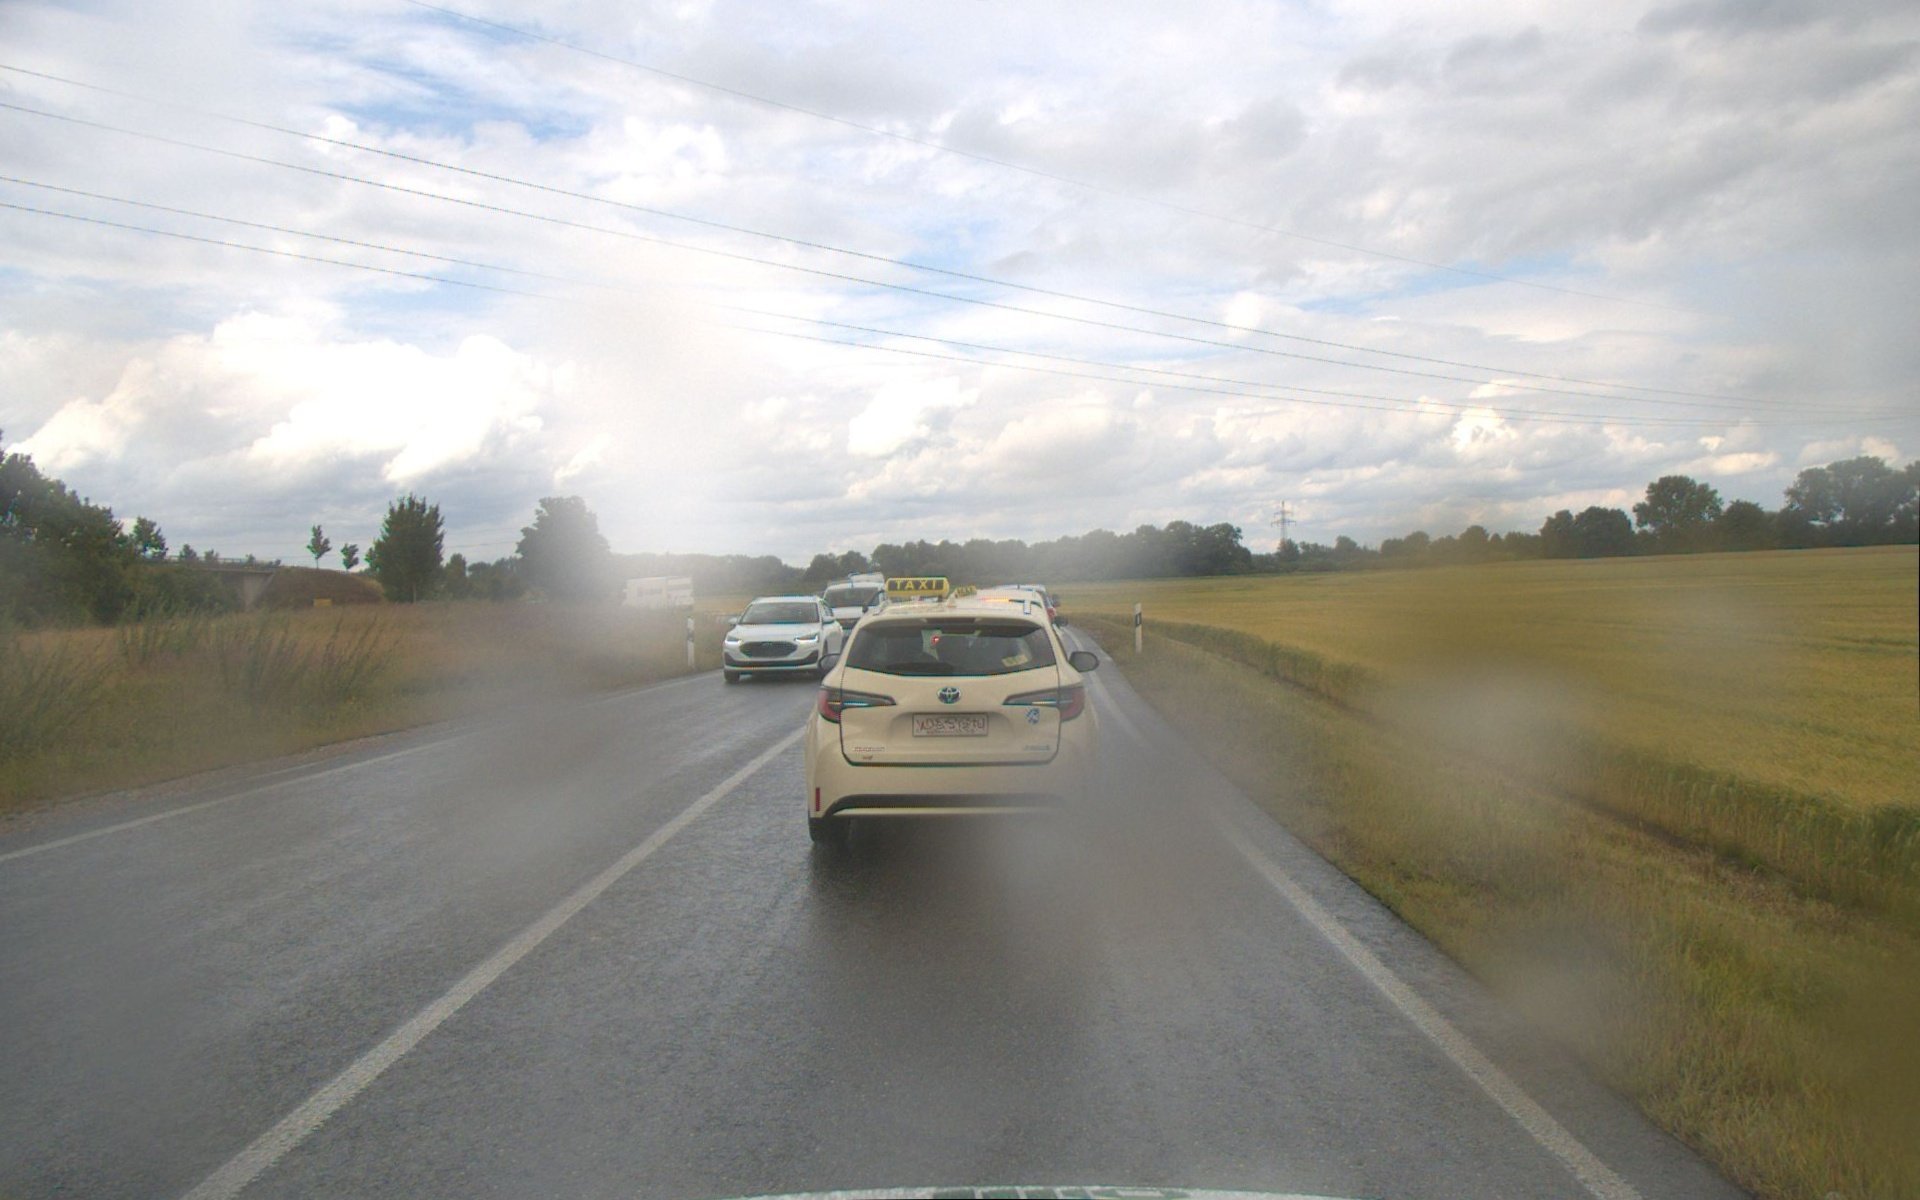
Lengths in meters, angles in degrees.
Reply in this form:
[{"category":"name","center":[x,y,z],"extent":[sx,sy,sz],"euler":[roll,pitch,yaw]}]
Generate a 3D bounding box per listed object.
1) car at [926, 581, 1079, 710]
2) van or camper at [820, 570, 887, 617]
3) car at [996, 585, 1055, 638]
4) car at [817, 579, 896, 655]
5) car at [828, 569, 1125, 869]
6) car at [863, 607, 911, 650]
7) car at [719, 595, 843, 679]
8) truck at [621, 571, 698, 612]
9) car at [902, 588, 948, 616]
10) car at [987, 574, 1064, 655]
[{"category":"car","center":[0.539,0.545,21.999],"extent":[1.803,1.518,4.608],"euler":[1,0,1]},{"category":"van or camper","center":[-7.049,-0.403,108.655],"extent":[2.500,2.946,6.700],"euler":[1,0,-21]},{"category":"car","center":[1.852,0.345,46.879],"extent":[1.579,1.438,3.739],"euler":[1,-1,2]},{"category":"car","center":[-2.694,0.430,43.809],"extent":[1.806,1.888,4.446],"euler":[1,0,0]},{"category":"car","center":[0.166,0.675,10.757],"extent":[1.579,1.590,3.739],"euler":[1,-1,2]},{"category":"car","center":[-3.048,1.147,68.204],"extent":[1.812,1.660,4.530],"euler":[-1,0,-5]},{"category":"car","center":[-3.178,0.638,30.108],"extent":[1.806,1.412,4.286],"euler":[1,0,0]},{"category":"truck","center":[-25.317,-0.655,139.059],"extent":[2.992,3.266,8.121],"euler":[2,-2,-37]},{"category":"car","center":[-1.969,0.139,91.623],"extent":[1.753,1.438,3.724],"euler":[1,-1,-14]},{"category":"car","center":[1.412,0.344,36.484],"extent":[1.579,1.688,3.738],"euler":[1,-1,1]}]
